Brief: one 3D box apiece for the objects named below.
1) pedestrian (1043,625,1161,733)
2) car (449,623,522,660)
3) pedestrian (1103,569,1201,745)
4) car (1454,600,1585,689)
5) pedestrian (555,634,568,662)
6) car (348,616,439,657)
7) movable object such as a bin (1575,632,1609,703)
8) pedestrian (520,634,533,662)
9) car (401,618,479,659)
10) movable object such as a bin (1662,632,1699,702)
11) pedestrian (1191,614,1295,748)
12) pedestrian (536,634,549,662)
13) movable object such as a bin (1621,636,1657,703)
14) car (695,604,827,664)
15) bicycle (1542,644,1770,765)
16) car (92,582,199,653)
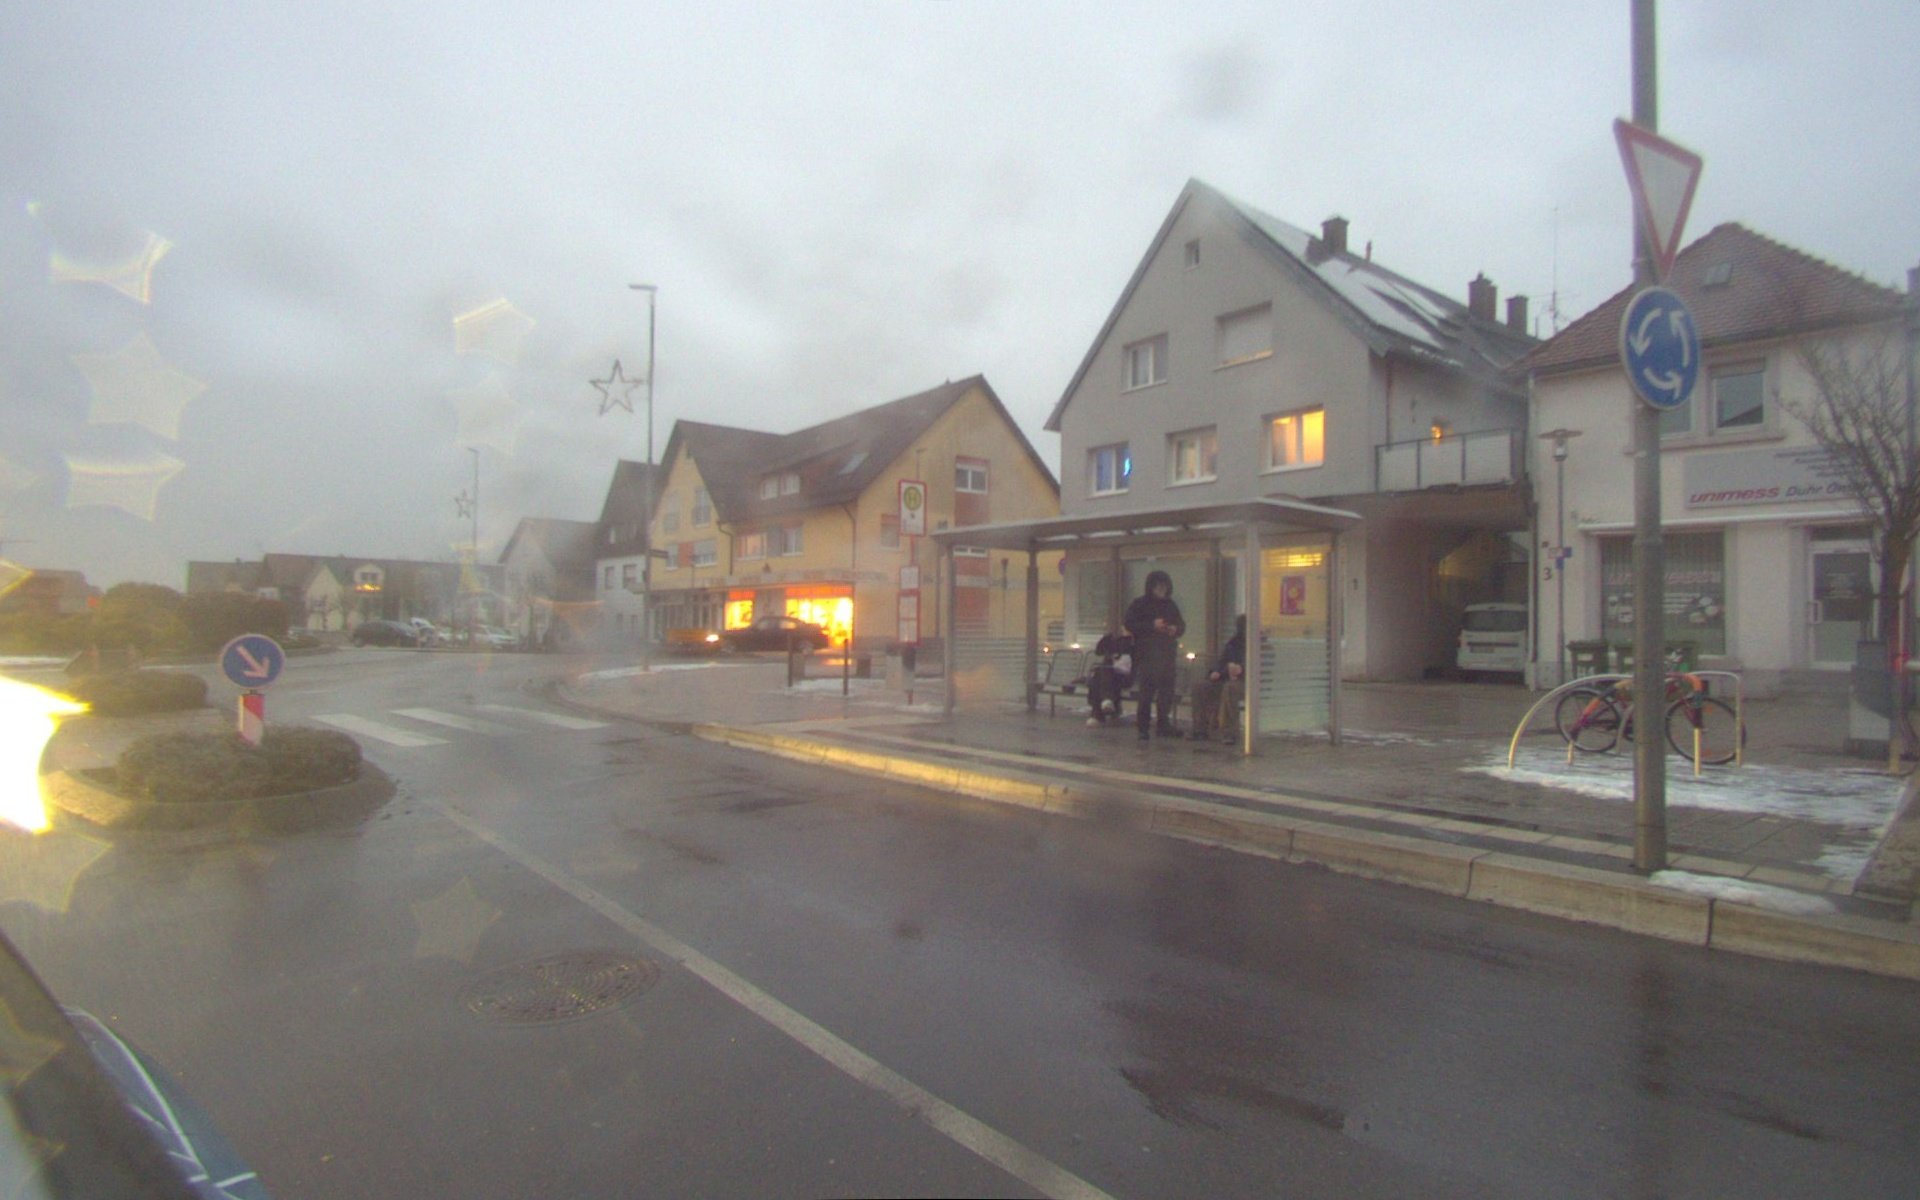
[{"bbox_3d":[1.653,0.898,11.783,0.976,1.167,0.903,0,-3,-39],"label":"pedestrian"},{"bbox_3d":[-27.290,2.350,58.191,3.854,1.895,1.917,1,1,28],"label":"car"},{"bbox_3d":[2.014,0.573,10.617,0.687,1.755,0.740,-2,-1,41],"label":"pedestrian"},{"bbox_3d":[12.680,0.962,22.874,3.373,1.867,1.516,2,-1,-40],"label":"car"},{"bbox_3d":[-23.954,2.863,60.888,0.574,1.623,0.500,0,1,-44],"label":"pedestrian"},{"bbox_3d":[-30.008,1.896,53.645,3.963,2.010,1.962,1,1,15],"label":"car"},{"bbox_3d":[11.325,1.198,18.143,0.284,1.219,0.454,0,1,-44],"label":"movable object such as a bin"},{"bbox_3d":[-25.578,2.825,59.748,0.574,1.623,0.500,0,1,-44],"label":"pedestrian"},{"bbox_3d":[-28.771,2.094,55.990,3.953,2.029,1.908,1,1,28],"label":"car"},{"bbox_3d":[12.213,1.130,17.164,0.284,1.151,0.454,0,1,-44],"label":"movable object such as a bin"},{"bbox_3d":[2.878,0.798,10.300,0.677,1.281,0.751,0,-1,-44],"label":"pedestrian"},{"bbox_3d":[-24.995,2.855,60.546,0.574,1.623,0.500,0,1,-44],"label":"pedestrian"},{"bbox_3d":[11.821,1.205,17.617,0.284,1.129,0.454,0,1,-44],"label":"movable object such as a bin"},{"bbox_3d":[-7.182,1.179,36.521,4.387,2.029,2.007,0,1,-21],"label":"car"},{"bbox_3d":[6.581,0.948,9.672,0.463,1.018,1.744,1,-2,-32],"label":"bicycle"},{"bbox_3d":[-25.052,0.465,31.299,2.024,2.002,4.551,0,1,-32],"label":"car"}]
